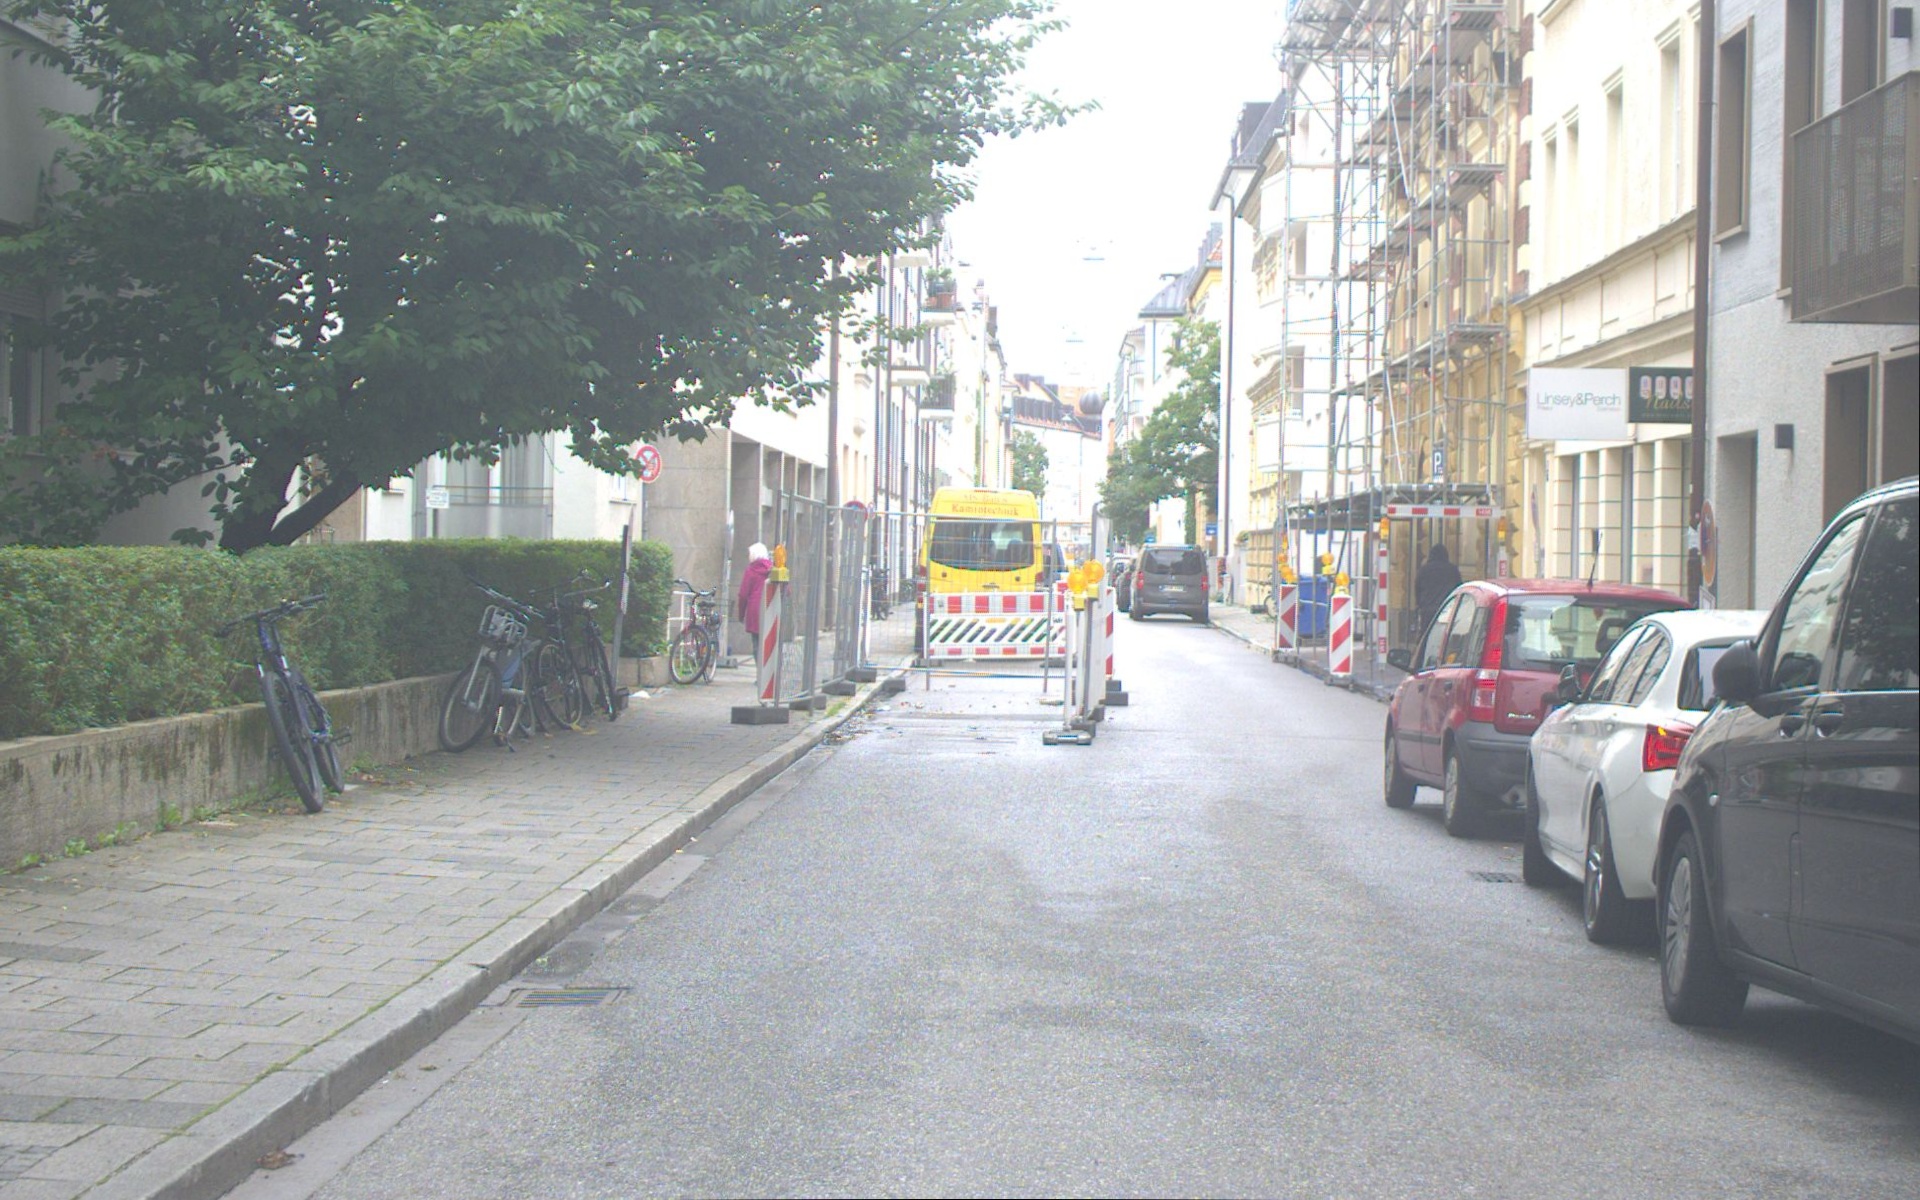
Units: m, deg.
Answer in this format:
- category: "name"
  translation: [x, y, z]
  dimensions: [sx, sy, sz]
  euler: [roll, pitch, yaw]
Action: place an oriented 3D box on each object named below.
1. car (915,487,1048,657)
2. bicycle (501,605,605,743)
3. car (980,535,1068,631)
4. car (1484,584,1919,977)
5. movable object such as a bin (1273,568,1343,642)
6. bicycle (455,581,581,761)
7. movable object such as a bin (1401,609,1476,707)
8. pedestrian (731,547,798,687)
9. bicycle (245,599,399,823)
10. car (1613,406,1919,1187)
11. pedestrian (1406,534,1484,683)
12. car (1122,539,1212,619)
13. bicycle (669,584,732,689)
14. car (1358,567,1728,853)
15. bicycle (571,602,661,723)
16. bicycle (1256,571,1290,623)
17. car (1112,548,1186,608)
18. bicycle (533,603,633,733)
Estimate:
- category: "car"
  translation: [0.369, -0.478, 55.642]
  dimensions: [1.993, 2.570, 6.737]
  euler: [0, 1, 1]
- category: "bicycle"
  translation: [-3.057, 0.544, 25.913]
  dimensions: [0.436, 0.975, 1.698]
  euler: [4, 0, 3]
- category: "car"
  translation: [1.321, -0.370, 70.743]
  dimensions: [1.727, 1.891, 5.509]
  euler: [-1, 1, 1]
- category: "car"
  translation: [3.557, 0.716, 15.780]
  dimensions: [1.768, 1.456, 4.380]
  euler: [3, 1, 3]
- category: "movable object such as a bin"
  translation: [6.593, 0.095, 65.074]
  dimensions: [1.087, 1.341, 1.316]
  euler: [-2, 1, 14]
- category: "bicycle"
  translation: [-2.997, 0.468, 23.443]
  dimensions: [0.488, 1.147, 1.698]
  euler: [4, 0, 3]
- category: "movable object such as a bin"
  translation: [5.883, 0.705, 42.338]
  dimensions: [0.729, 1.137, 0.988]
  euler: [-3, 1, 0]
- category: "pedestrian"
  translation: [-2.162, 0.183, 38.002]
  dimensions: [0.638, 1.526, 0.747]
  euler: [0, 1, 4]
- category: "bicycle"
  translation: [-3.321, 0.553, 17.994]
  dimensions: [0.347, 1.068, 1.780]
  euler: [5, 1, 2]
- category: "car"
  translation: [3.423, 0.514, 9.884]
  dimensions: [1.990, 1.970, 4.885]
  euler: [3, 1, -1]
- category: "pedestrian"
  translation: [5.857, 0.094, 41.534]
  dimensions: [0.729, 1.746, 0.988]
  euler: [-3, 1, 1]
- category: "car"
  translation: [5.237, -0.557, 87.530]
  dimensions: [1.993, 1.925, 4.660]
  euler: [2, 1, 1]
- category: "bicycle"
  translation: [-2.806, 0.387, 37.278]
  dimensions: [0.377, 1.059, 1.597]
  euler: [7, 1, 2]
- category: "car"
  translation: [3.526, 0.600, 21.472]
  dimensions: [1.772, 1.519, 4.066]
  euler: [3, 1, 3]
- category: "bicycle"
  translation: [-2.923, 0.518, 29.337]
  dimensions: [0.443, 0.975, 1.816]
  euler: [4, 0, 3]
- category: "bicycle"
  translation: [7.331, -0.089, 80.573]
  dimensions: [0.638, 1.149, 1.915]
  euler: [-2, 1, 2]
- category: "car"
  translation: [5.342, -0.639, 97.546]
  dimensions: [1.894, 1.635, 4.322]
  euler: [1, 1, 1]
- category: "bicycle"
  translation: [-2.996, 0.530, 27.473]
  dimensions: [0.443, 0.975, 1.853]
  euler: [4, 0, 3]
